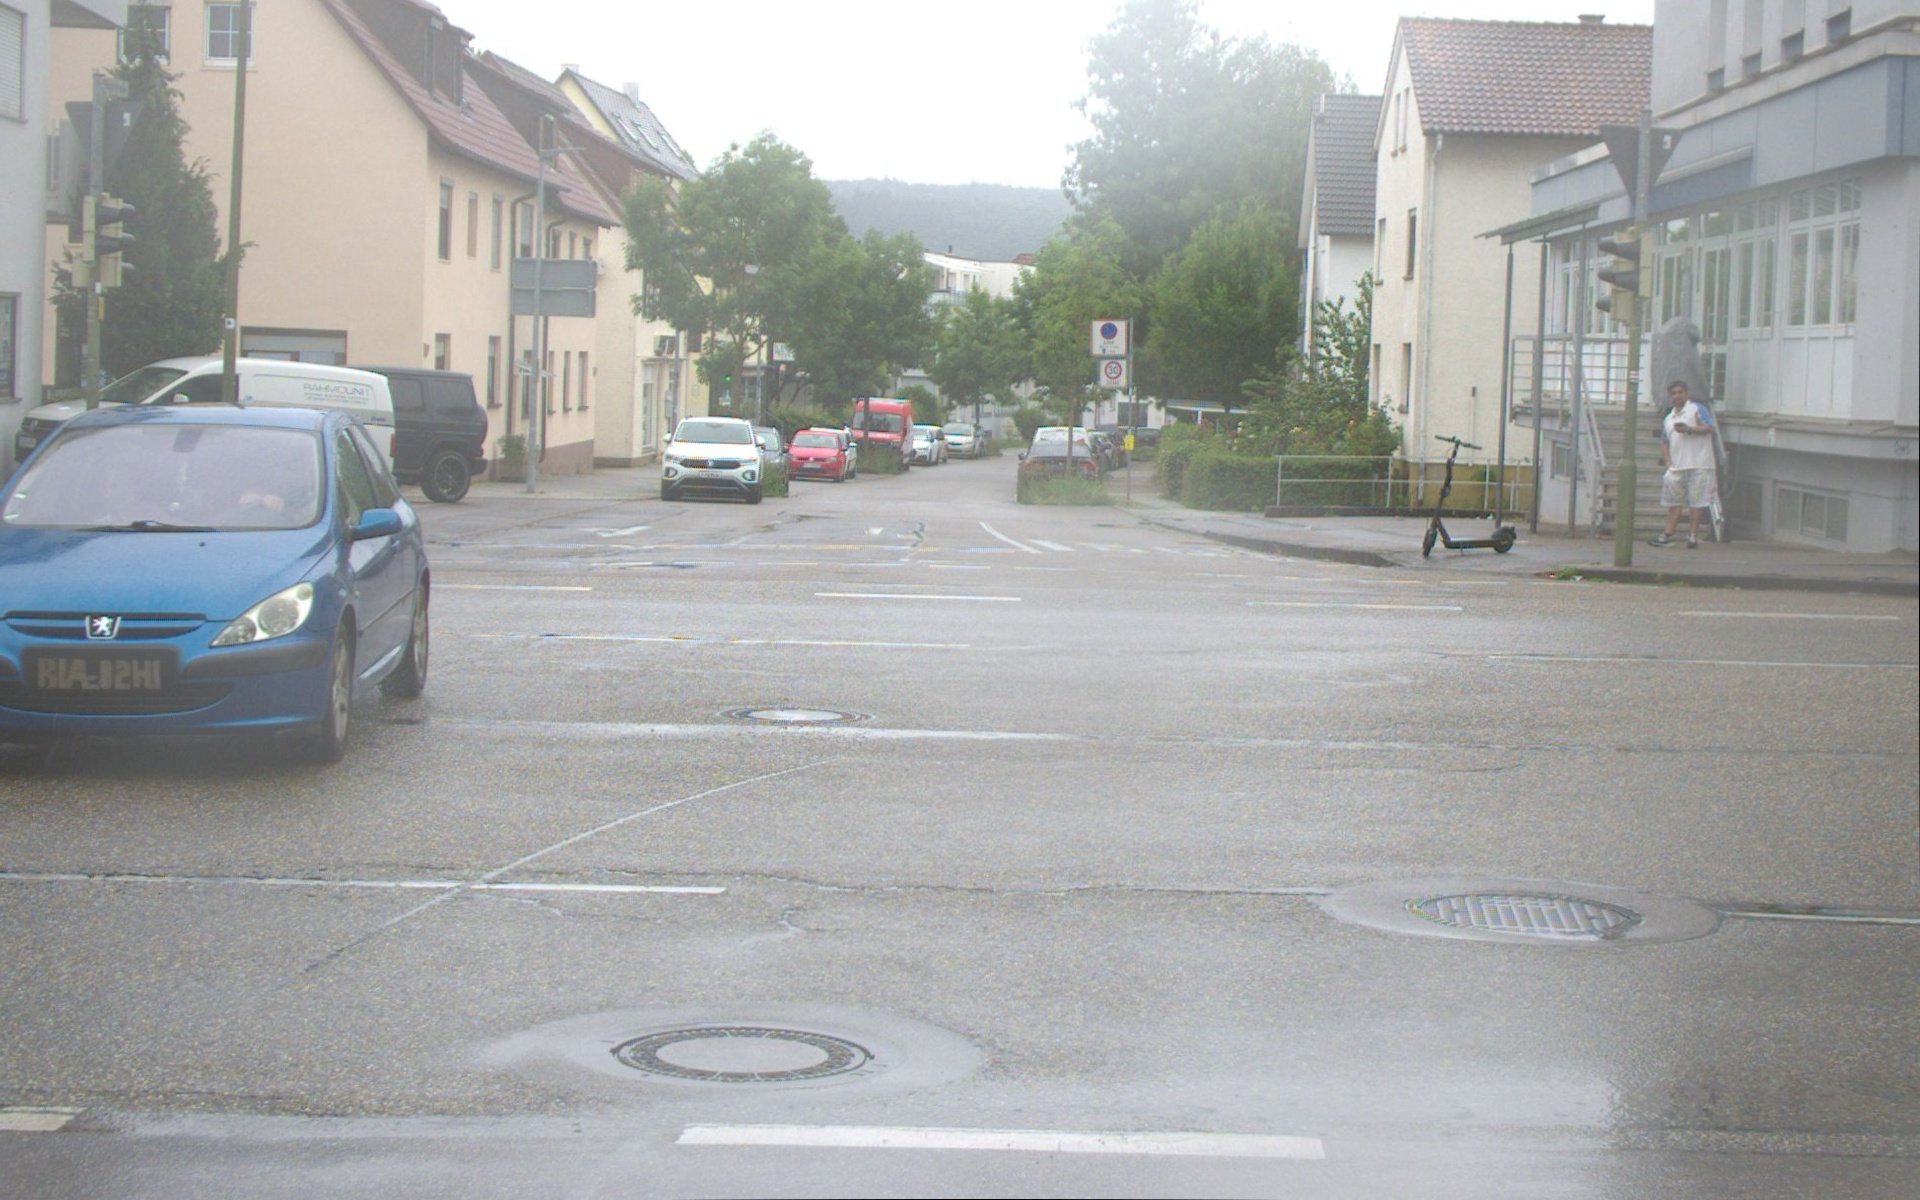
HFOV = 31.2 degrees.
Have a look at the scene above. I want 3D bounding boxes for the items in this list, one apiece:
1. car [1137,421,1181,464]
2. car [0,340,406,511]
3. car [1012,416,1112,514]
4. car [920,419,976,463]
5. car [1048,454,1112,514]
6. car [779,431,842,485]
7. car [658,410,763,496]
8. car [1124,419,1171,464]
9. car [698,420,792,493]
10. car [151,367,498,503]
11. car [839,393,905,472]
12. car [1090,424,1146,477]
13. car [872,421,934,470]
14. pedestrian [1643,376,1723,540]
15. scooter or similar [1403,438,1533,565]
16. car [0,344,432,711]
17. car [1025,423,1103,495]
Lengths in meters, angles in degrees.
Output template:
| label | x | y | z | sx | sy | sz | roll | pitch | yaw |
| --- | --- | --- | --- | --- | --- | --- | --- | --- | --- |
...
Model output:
| label | x | y | z | sx | sy | sz | roll | pitch | yaw |
| --- | --- | --- | --- | --- | --- | --- | --- | --- | --- |
| car | 9.642 | -7.616 | 166.227 | 1.994 | 2.006 | 4.000 | 1 | 2 | 5 |
| car | -9.524 | -2.157 | 43.210 | 4.715 | 1.772 | 1.772 | 3 | 0 | -39 |
| car | 2.315 | -2.991 | 76.943 | 1.994 | 2.007 | 3.999 | 1 | 0 | 5 |
| car | -0.511 | -6.926 | 149.814 | 1.994 | 1.700 | 3.999 | 1 | 0 | 6 |
| car | 4.192 | -4.039 | 119.145 | 1.994 | 2.006 | 4.000 | 1 | 2 | 5 |
| car | -4.363 | -4.120 | 99.876 | 1.767 | 1.513 | 4.001 | 1 | 2 | -3 |
| car | -4.576 | -2.703 | 63.479 | 1.767 | 1.518 | 4.001 | 1 | 2 | -2 |
| car | 8.605 | -7.271 | 157.600 | 1.994 | 2.006 | 4.000 | 1 | 2 | 5 |
| car | -4.666 | -3.128 | 75.026 | 1.767 | 1.513 | 4.195 | 1 | 2 | 0 |
| car | -9.268 | -2.390 | 50.339 | 4.608 | 1.882 | 1.963 | -1 | 3 | -39 |
| car | -3.118 | -5.956 | 122.875 | 2.216 | 2.759 | 5.725 | 1 | 2 | -1 |
| car | 6.167 | -5.808 | 133.527 | 1.994 | 2.006 | 4.000 | 1 | 2 | 5 |
| car | -2.203 | -6.023 | 134.259 | 1.994 | 1.678 | 3.999 | 1 | 0 | 5 |
| pedestrian | 7.427 | -1.450 | 35.317 | 0.654 | 1.646 | 0.646 | 1 | 0 | 0 |
| scooter or similar | 5.044 | -0.967 | 34.165 | 1.058 | 1.223 | 0.802 | 1 | 0 | -9 |
| car | -3.513 | -0.300 | 15.735 | 1.767 | 1.440 | 4.000 | 1 | 0 | -3 |
| car | 3.011 | -4.046 | 99.037 | 1.994 | 2.006 | 4.000 | 1 | 2 | 5 |
